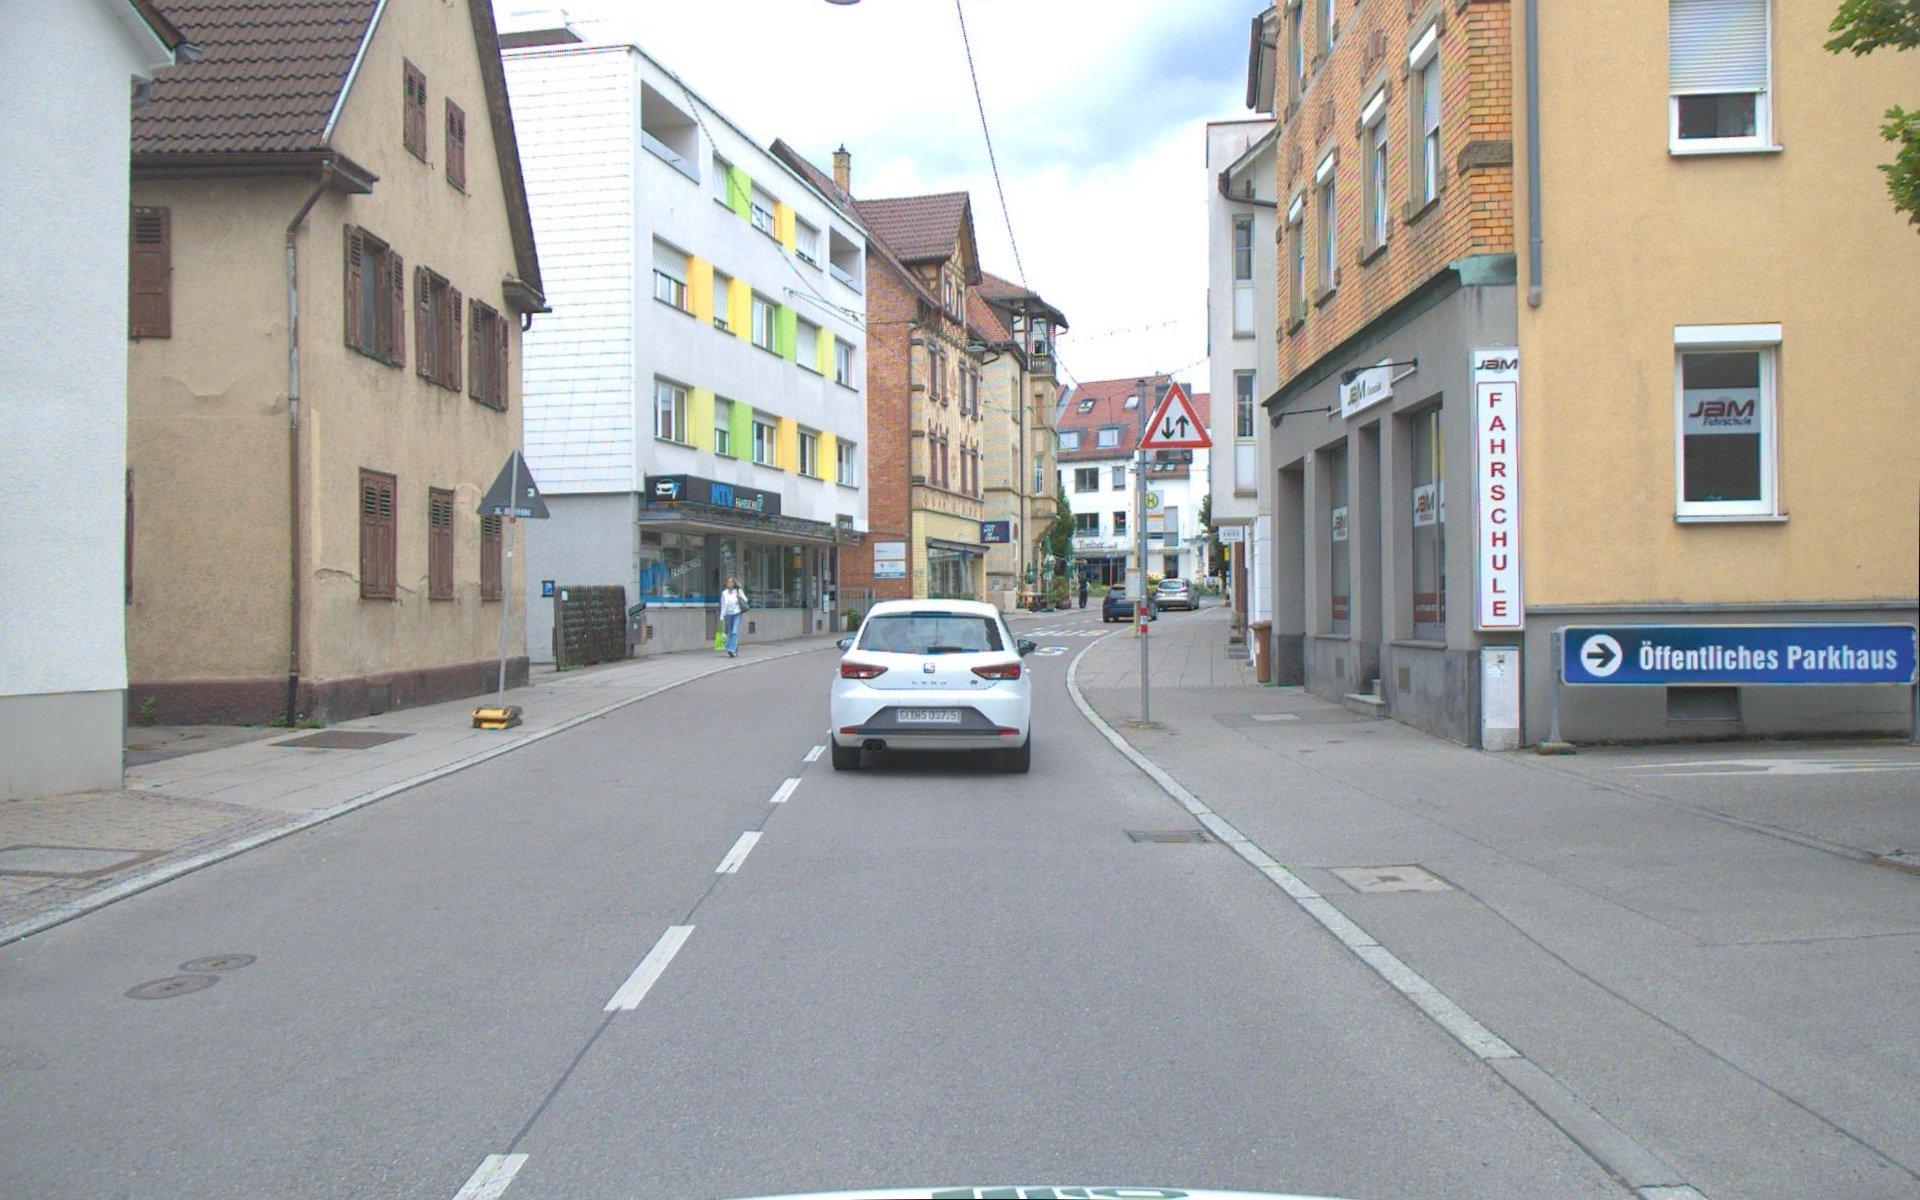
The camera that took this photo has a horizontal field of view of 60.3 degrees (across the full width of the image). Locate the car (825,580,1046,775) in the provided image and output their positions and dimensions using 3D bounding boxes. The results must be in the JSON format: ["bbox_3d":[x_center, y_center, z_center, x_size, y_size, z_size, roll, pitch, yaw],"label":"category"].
[{"bbox_3d":[-0.160,0.602,15.255,1.774,1.506,3.871,0,1,1],"label":"car"}]

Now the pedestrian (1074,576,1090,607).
[{"bbox_3d":[6.297,-0.427,85.277,0.816,1.579,0.628,-1,0,6],"label":"pedestrian"}]

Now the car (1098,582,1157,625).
[{"bbox_3d":[6.441,0.125,63.187,1.773,1.506,3.874,-1,2,13],"label":"car"}]

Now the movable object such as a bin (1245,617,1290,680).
[{"bbox_3d":[4.715,0.741,25.382,0.606,0.937,0.582,-1,0,5],"label":"movable object such as a bin"}]

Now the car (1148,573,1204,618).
[{"bbox_3d":[10.070,-0.222,76.874,1.951,2.049,4.003,-1,1,16],"label":"car"}]

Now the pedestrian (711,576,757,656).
[{"bbox_3d":[-4.883,0.342,35.754,0.874,1.694,0.861,-1,0,-2],"label":"pedestrian"}]
